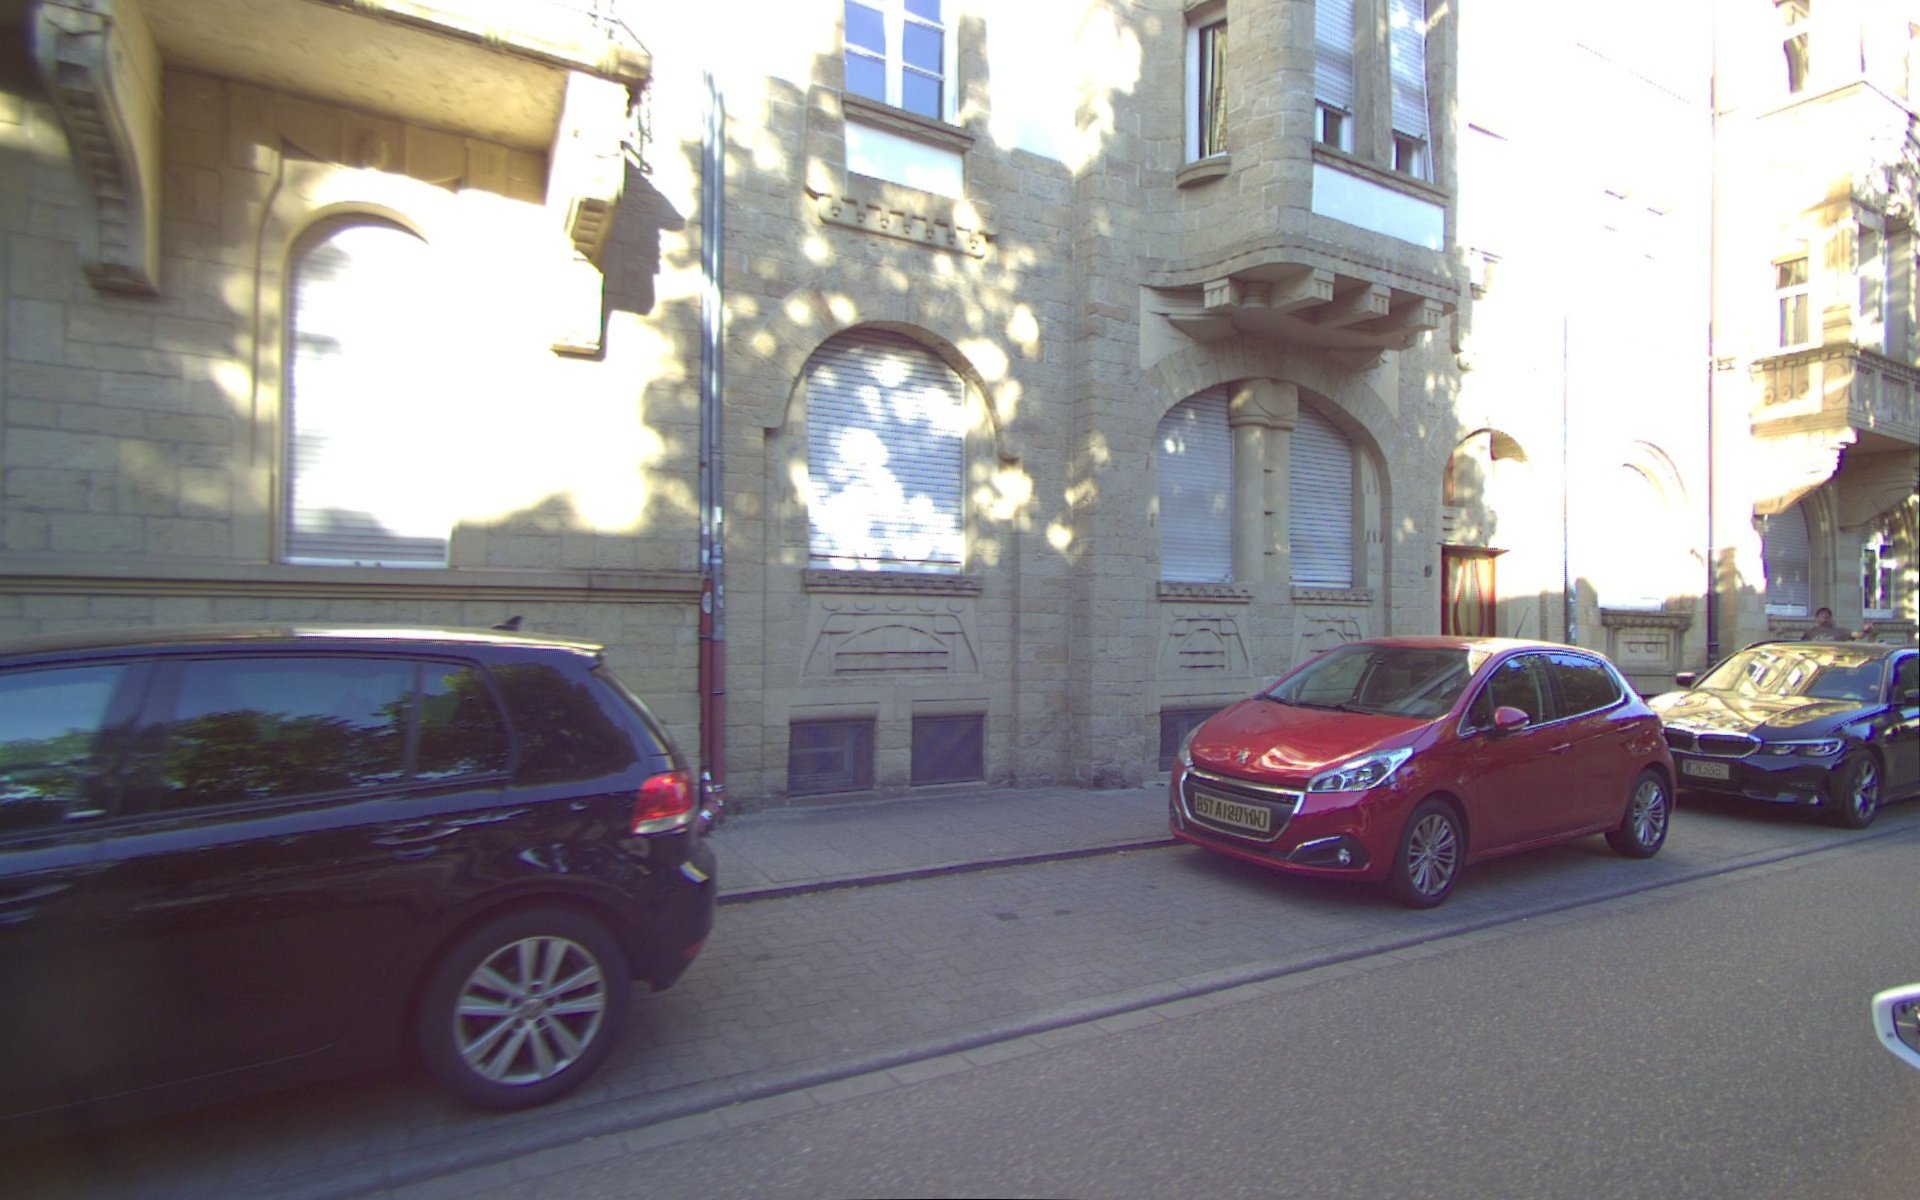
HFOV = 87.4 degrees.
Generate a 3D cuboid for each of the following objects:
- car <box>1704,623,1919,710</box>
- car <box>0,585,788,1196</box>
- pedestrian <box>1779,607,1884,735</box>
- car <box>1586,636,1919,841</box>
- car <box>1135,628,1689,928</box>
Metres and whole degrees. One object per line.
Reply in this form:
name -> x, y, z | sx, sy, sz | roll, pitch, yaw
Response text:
car -> 18.999, 1.381, 21.897 | 1.699, 1.690, 4.178 | 1, -1, -31
car -> -2.737, 0.715, 3.157 | 3.983, 1.472, 1.687 | 2, -2, -32
pedestrian -> 12.573, 1.003, 14.501 | 0.726, 1.765, 0.934 | 2, -1, -29
car -> 8.005, 1.116, 9.436 | 4.496, 1.449, 1.667 | 1, 1, -30
car -> 3.157, 0.955, 6.801 | 3.796, 1.472, 1.620 | 1, 0, -33
